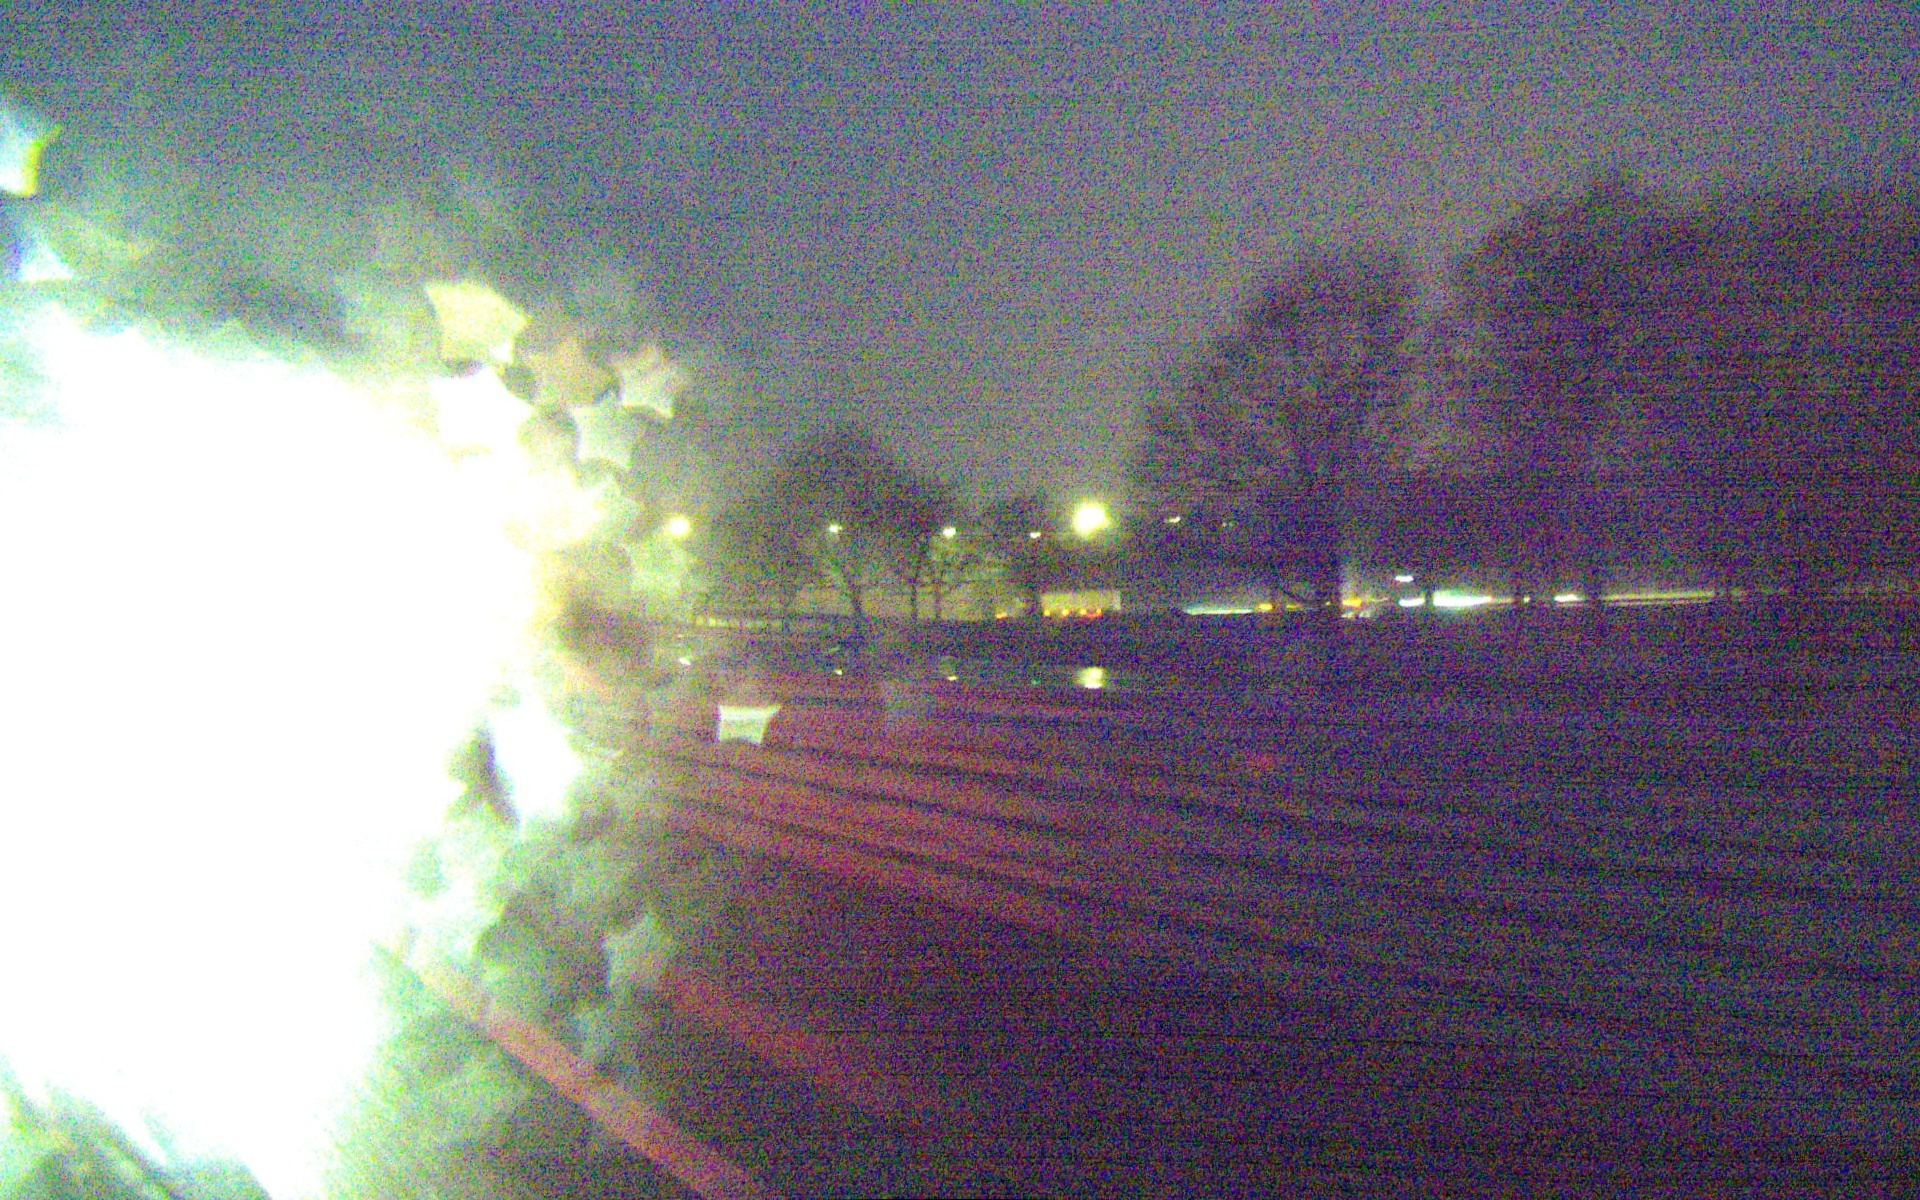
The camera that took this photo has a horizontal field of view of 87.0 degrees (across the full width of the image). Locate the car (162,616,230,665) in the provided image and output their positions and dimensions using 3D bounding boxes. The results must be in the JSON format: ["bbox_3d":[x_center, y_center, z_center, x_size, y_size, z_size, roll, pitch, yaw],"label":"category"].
[{"bbox_3d":[-30.792,1.604,40.898,1.967,1.760,4.110,-4,1,-35],"label":"car"}]

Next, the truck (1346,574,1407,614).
[{"bbox_3d":[43.214,-0.626,104.948,5.438,3.738,2.570,-3,1,31],"label":"truck"}]

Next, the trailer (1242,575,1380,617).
[{"bbox_3d":[37.454,-0.368,108.454,13.603,3.752,2.573,-3,1,31],"label":"trailer"}]

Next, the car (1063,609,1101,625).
[{"bbox_3d":[14.202,1.959,117.858,3.970,1.630,1.987,-3,1,20],"label":"car"}]

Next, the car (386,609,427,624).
[{"bbox_3d":[-66.897,1.961,122.364,1.717,1.452,3.947,-5,0,40],"label":"car"}]
